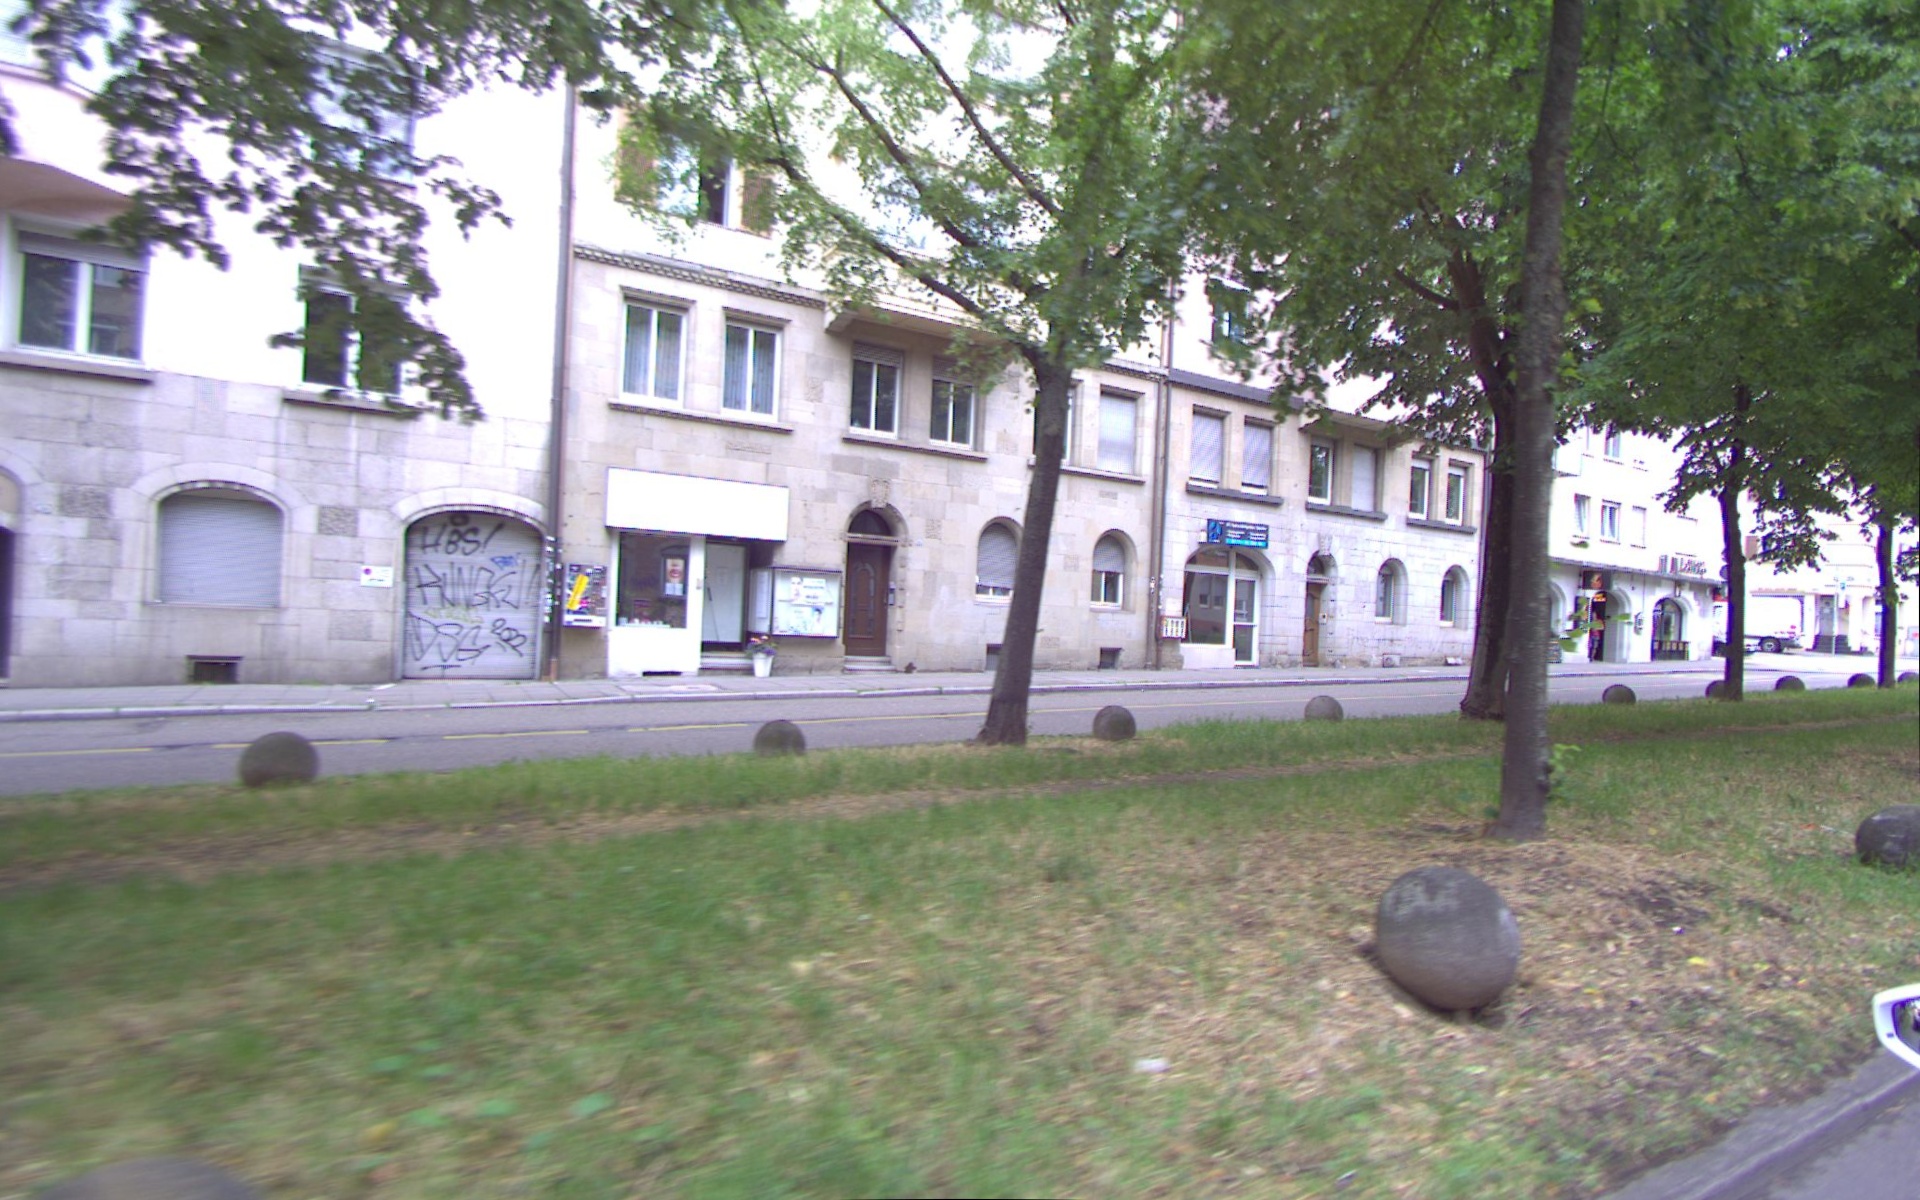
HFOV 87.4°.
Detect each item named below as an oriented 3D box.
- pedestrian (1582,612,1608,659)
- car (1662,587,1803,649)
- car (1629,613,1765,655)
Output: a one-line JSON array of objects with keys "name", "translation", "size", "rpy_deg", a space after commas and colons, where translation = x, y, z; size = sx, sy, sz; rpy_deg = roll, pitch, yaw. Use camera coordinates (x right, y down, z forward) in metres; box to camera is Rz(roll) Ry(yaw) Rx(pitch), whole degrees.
[{"name": "pedestrian", "translation": [22.986, 1.273, 36.356], "size": [0.693, 1.688, 0.529], "rpy_deg": [1, 0, -32]}, {"name": "car", "translation": [38.184, 0.862, 49.755], "size": [2.161, 2.773, 5.126], "rpy_deg": [2, 1, -41]}, {"name": "car", "translation": [31.867, 1.446, 43.569], "size": [2.024, 1.439, 4.264], "rpy_deg": [1, 3, -31]}]
